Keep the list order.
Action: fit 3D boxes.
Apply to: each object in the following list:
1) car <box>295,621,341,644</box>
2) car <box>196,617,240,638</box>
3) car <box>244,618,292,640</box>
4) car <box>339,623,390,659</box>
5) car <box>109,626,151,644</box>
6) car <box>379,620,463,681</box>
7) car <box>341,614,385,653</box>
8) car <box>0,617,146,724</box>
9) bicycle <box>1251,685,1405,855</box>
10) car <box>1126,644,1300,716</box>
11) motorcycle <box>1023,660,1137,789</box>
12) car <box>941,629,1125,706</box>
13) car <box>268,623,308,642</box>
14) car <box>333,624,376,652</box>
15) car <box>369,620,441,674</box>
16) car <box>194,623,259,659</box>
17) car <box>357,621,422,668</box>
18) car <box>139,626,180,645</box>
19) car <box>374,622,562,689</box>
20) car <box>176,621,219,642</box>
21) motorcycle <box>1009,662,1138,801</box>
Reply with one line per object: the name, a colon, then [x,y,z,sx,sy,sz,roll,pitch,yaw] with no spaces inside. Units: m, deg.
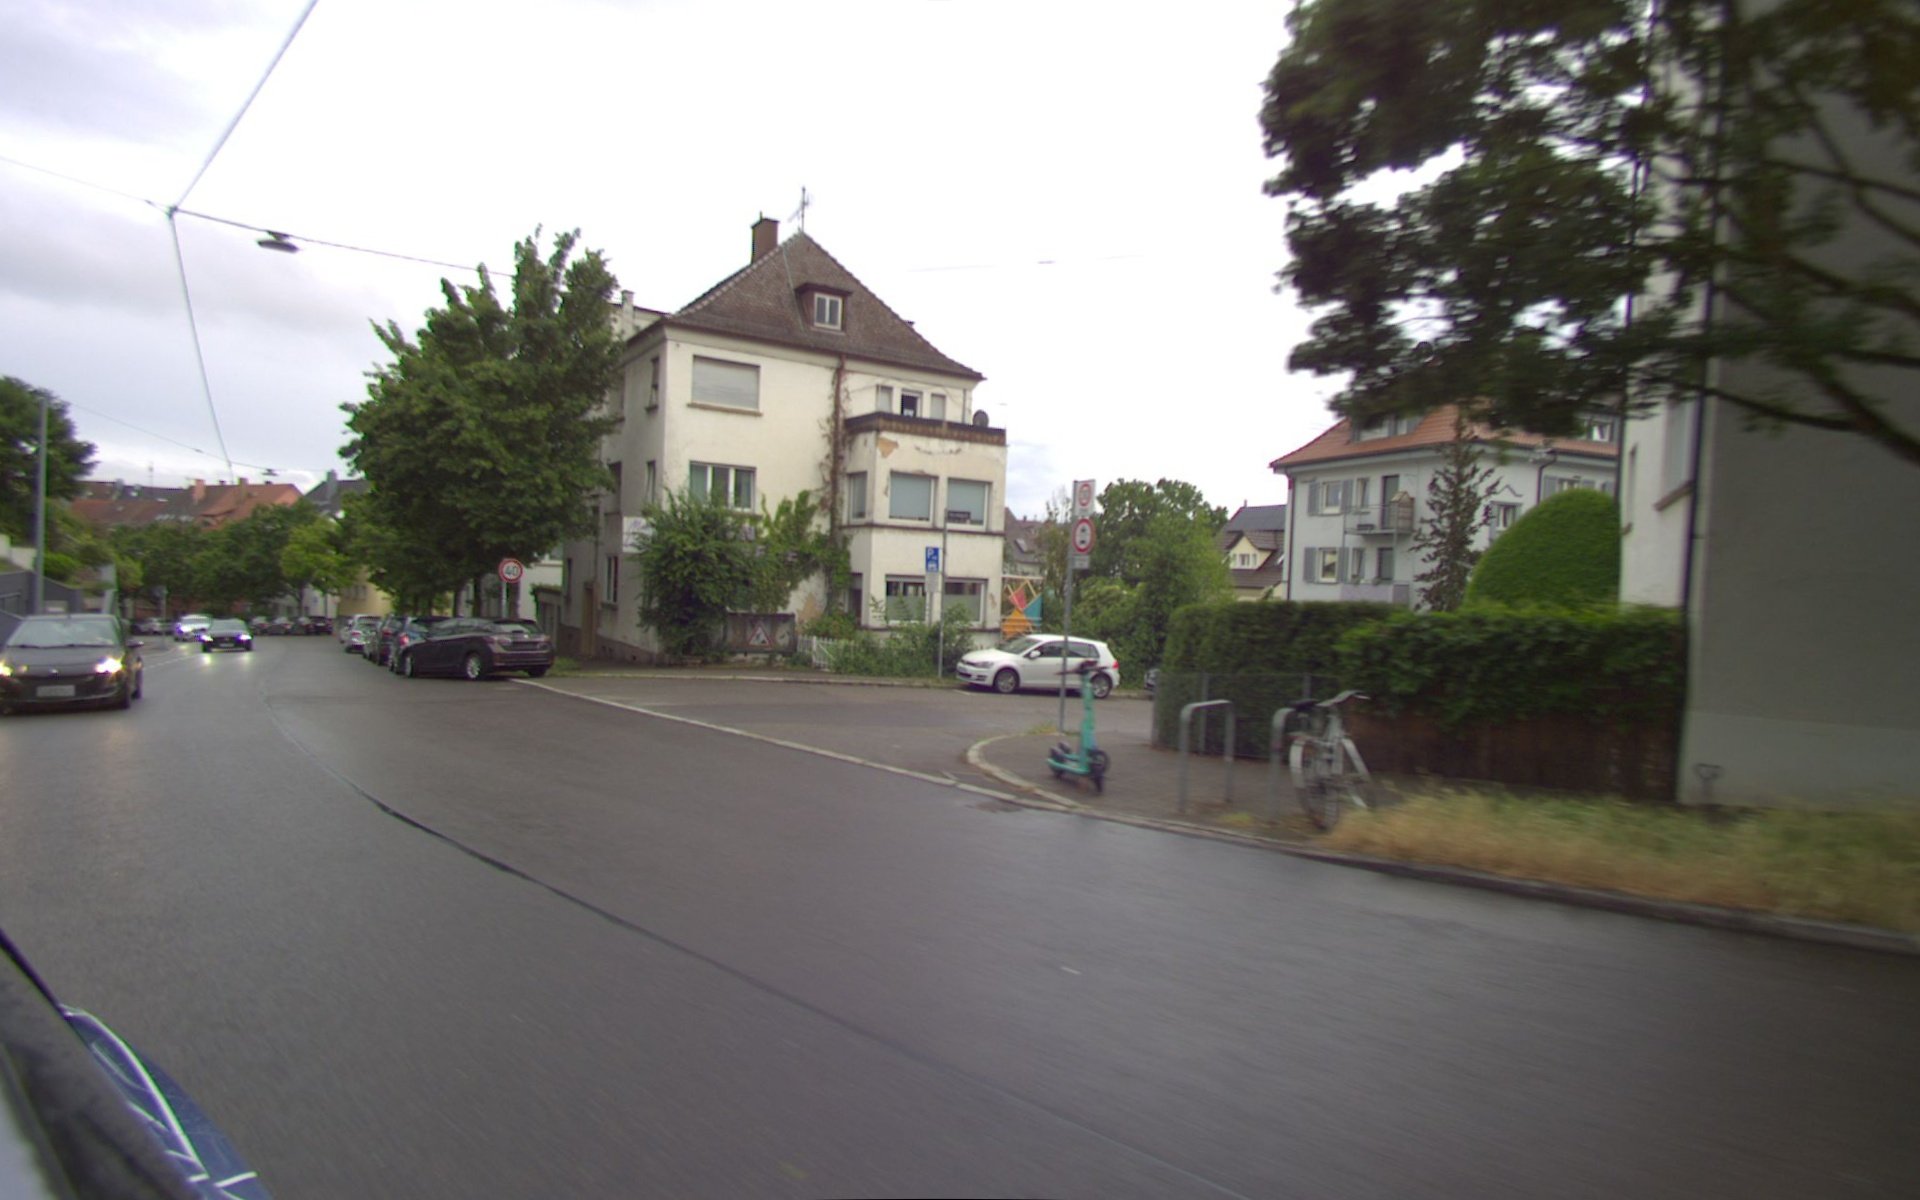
car: [-47.094,2.350,74.187,4.516,1.552,1.756,-1,0,43]
car: [-63.904,2.377,87.104,4.580,1.680,1.837,-2,0,37]
car: [-54.990,2.310,80.372,4.547,1.703,1.837,-2,-2,37]
car: [-27.790,1.880,47.193,1.780,1.464,4.609,-1,1,-34]
car: [-80.544,3.357,98.195,4.464,1.653,1.774,-2,0,31]
car: [-14.593,1.338,27.305,1.689,1.474,3.891,-1,-2,-32]
car: [-33.736,1.827,57.137,1.888,2.016,4.561,-1,1,-33]
car: [-14.057,1.015,15.923,1.671,1.475,4.010,0,-1,-35]
bicycle: [3.004,1.280,8.131,0.752,1.068,1.947,-1,-2,32]
car: [6.808,2.156,27.310,4.035,1.528,2.007,6,-2,-21]
motorcycle: [1.250,1.275,10.759,0.544,1.237,1.309,1,-2,-29]
car: [1.827,1.682,25.498,4.035,1.528,2.007,6,-2,-21]
car: [-51.163,2.479,77.027,4.322,1.407,1.596,-2,-1,43]
car: [-37.130,2.321,62.016,1.761,1.526,4.356,4,-2,-36]
car: [-18.428,1.490,33.509,1.780,1.639,4.150,0,-1,-33]
car: [-33.593,1.822,46.459,1.966,1.522,4.223,-1,-1,-30]
car: [-21.802,1.661,38.567,1.780,1.564,4.813,4,-2,-33]
car: [-75.789,3.403,95.802,4.588,1.703,1.732,-2,0,35]
car: [-11.515,1.235,23.652,4.182,1.401,1.979,0,-1,31]
car: [-68.425,2.820,90.797,4.472,1.790,1.838,-2,0,35]
motorcycle: [1.087,1.242,9.988,0.549,1.213,1.403,1,-2,-29]
